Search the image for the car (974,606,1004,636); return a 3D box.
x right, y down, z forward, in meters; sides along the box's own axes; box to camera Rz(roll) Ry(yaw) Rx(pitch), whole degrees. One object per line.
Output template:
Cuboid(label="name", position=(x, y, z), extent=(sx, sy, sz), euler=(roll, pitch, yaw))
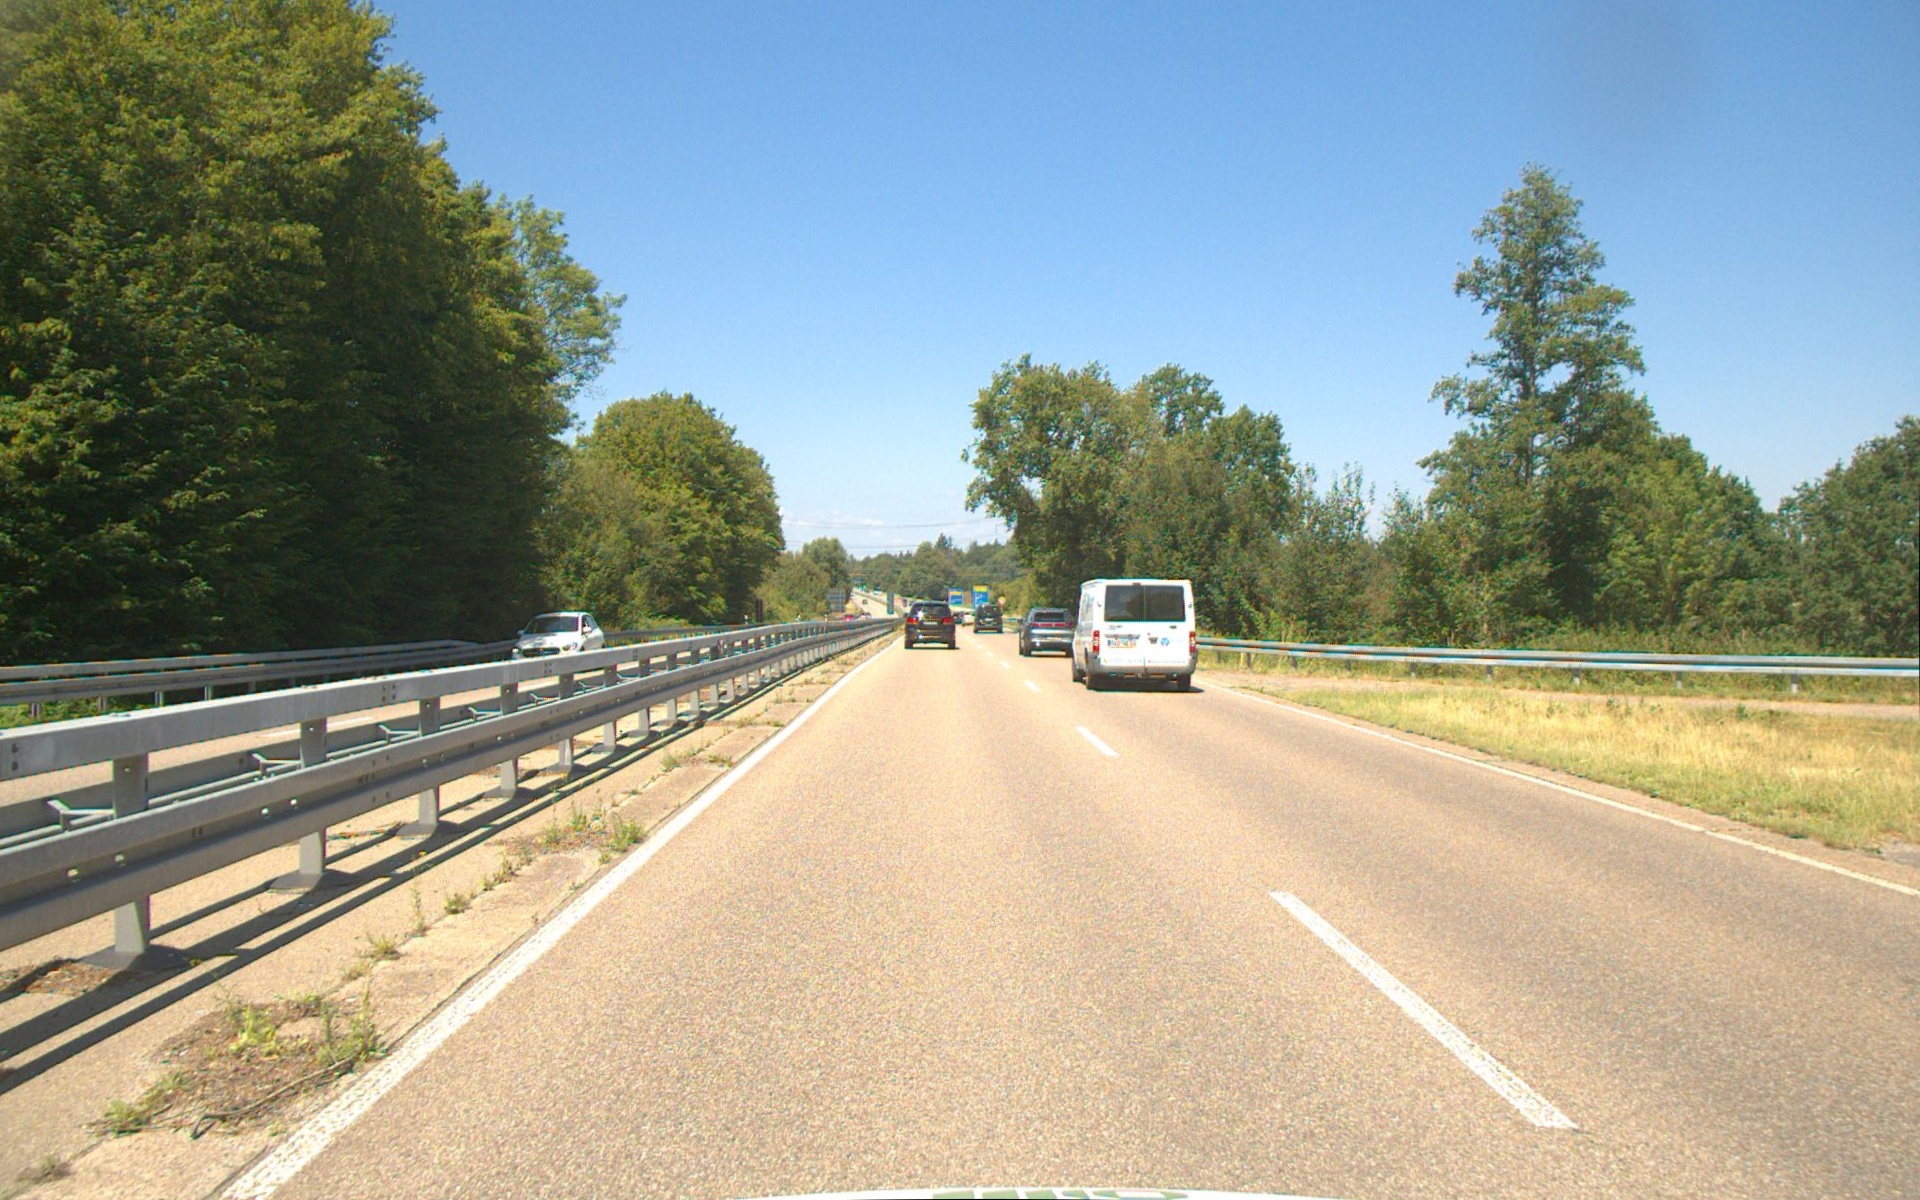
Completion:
Cuboid(label="car", position=(1.848, 1.315, 106.805), extent=(1.744, 1.848, 4.212), euler=(-1, 0, -1))

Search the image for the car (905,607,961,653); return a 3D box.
Cuboid(label="car", position=(-1.052, 1.099, 61.947), extent=(1.954, 1.683, 3.997), euler=(0, 0, -3))

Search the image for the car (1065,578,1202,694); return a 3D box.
Cuboid(label="car", position=(3.206, 0.682, 31.540), extent=(1.965, 2.024, 5.032), euler=(0, -1, -1))

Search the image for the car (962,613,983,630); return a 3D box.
Cuboid(label="car", position=(1.161, 1.983, 154.291), extent=(1.743, 1.505, 4.313), euler=(0, 0, -3))

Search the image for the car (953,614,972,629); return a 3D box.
Cuboid(label="car", position=(0.195, 2.179, 169.331), extent=(1.783, 1.439, 3.998), euler=(-1, 0, -2))

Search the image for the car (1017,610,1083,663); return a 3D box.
Cuboid(label="car", position=(2.823, 1.127, 52.666), extent=(1.749, 1.580, 4.017), euler=(0, 0, -2))

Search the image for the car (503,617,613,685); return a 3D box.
Cuboid(label="car", position=(-10.607, 1.312, 43.989), extent=(1.781, 1.627, 4.839), euler=(-2, -1, -1))

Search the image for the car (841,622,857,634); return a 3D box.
Cuboid(label="car", position=(-13.815, 3.518, 205.664), extent=(1.740, 1.444, 4.573), euler=(-1, -1, -2))
